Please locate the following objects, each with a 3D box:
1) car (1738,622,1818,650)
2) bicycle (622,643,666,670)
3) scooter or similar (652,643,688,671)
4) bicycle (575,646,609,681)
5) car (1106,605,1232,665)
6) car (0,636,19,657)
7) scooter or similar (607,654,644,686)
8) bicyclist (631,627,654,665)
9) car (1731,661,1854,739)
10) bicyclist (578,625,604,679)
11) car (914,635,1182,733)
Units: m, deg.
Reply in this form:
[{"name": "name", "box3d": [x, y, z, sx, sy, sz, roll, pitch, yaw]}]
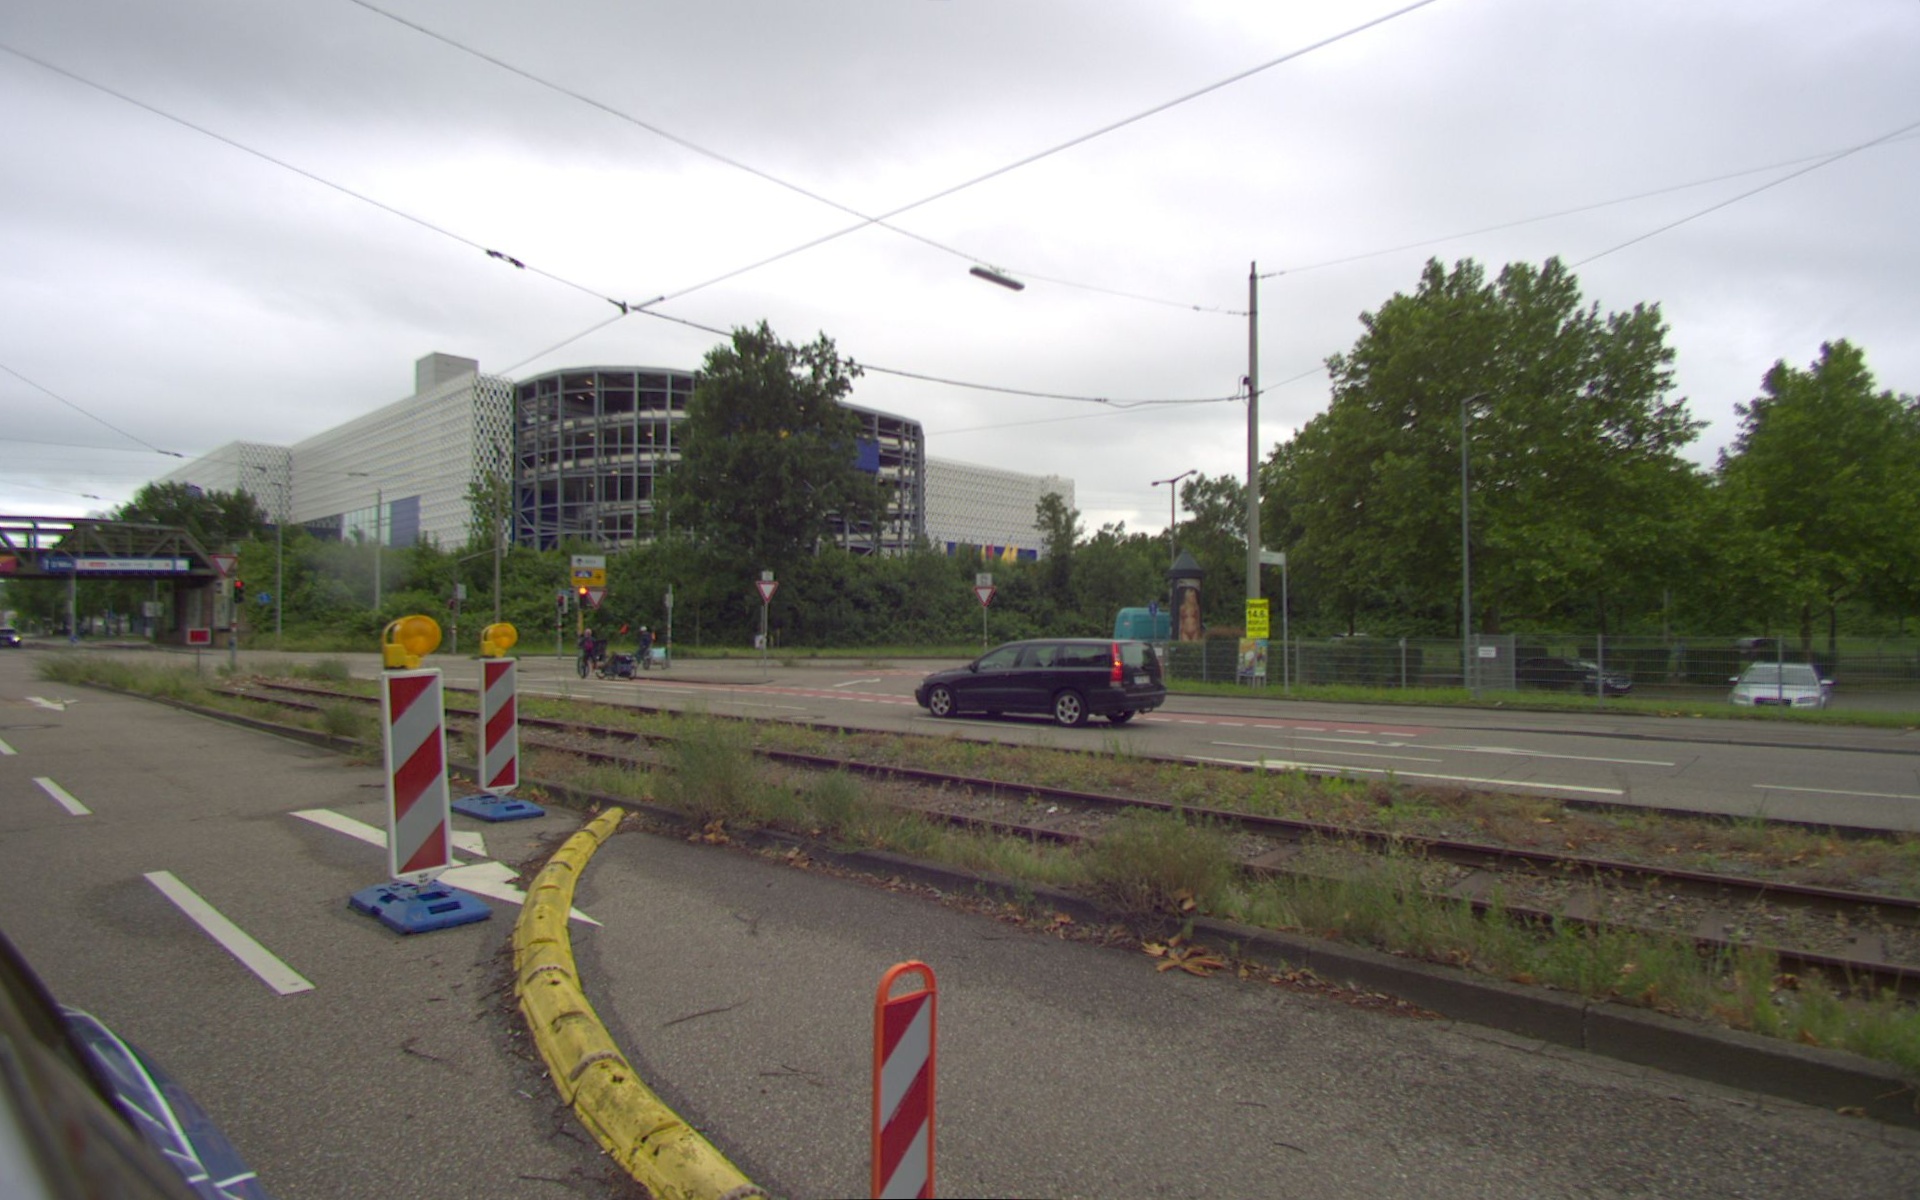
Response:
[{"name": "car", "box3d": [47.929, 2.088, 59.341, 3.608, 1.539, 1.779, -1, -1, -14]}, {"name": "bicycle", "box3d": [-12.943, 2.305, 41.395, 1.997, 1.070, 0.639, -2, -1, 37]}, {"name": "scooter or similar", "box3d": [-11.564, 2.255, 40.355, 1.447, 1.070, 0.639, -2, -1, 37]}, {"name": "bicycle", "box3d": [-11.951, 2.037, 32.810, 0.636, 1.070, 2.030, -1, -1, -31]}, {"name": "car", "box3d": [10.484, 1.745, 50.763, 5.845, 2.847, 2.343, 1, -2, -22]}, {"name": "car", "box3d": [-67.325, 3.239, 70.877, 3.999, 1.435, 1.812, -2, -1, 42]}, {"name": "scooter or similar", "box3d": [-10.452, 2.158, 31.580, 0.832, 0.914, 1.201, -1, -1, -31]}, {"name": "bicyclist", "box3d": [-13.003, 1.891, 41.434, 0.625, 1.530, 0.639, -2, -1, 37]}, {"name": "car", "box3d": [19.468, 2.248, 23.606, 1.913, 1.544, 4.164, -2, -3, 44]}, {"name": "bicyclist", "box3d": [-11.946, 1.683, 32.786, 0.636, 1.696, 0.687, -1, -1, -31]}, {"name": "car", "box3d": [1.439, 1.356, 17.603, 4.421, 1.484, 1.801, -1, -2, 39]}]
